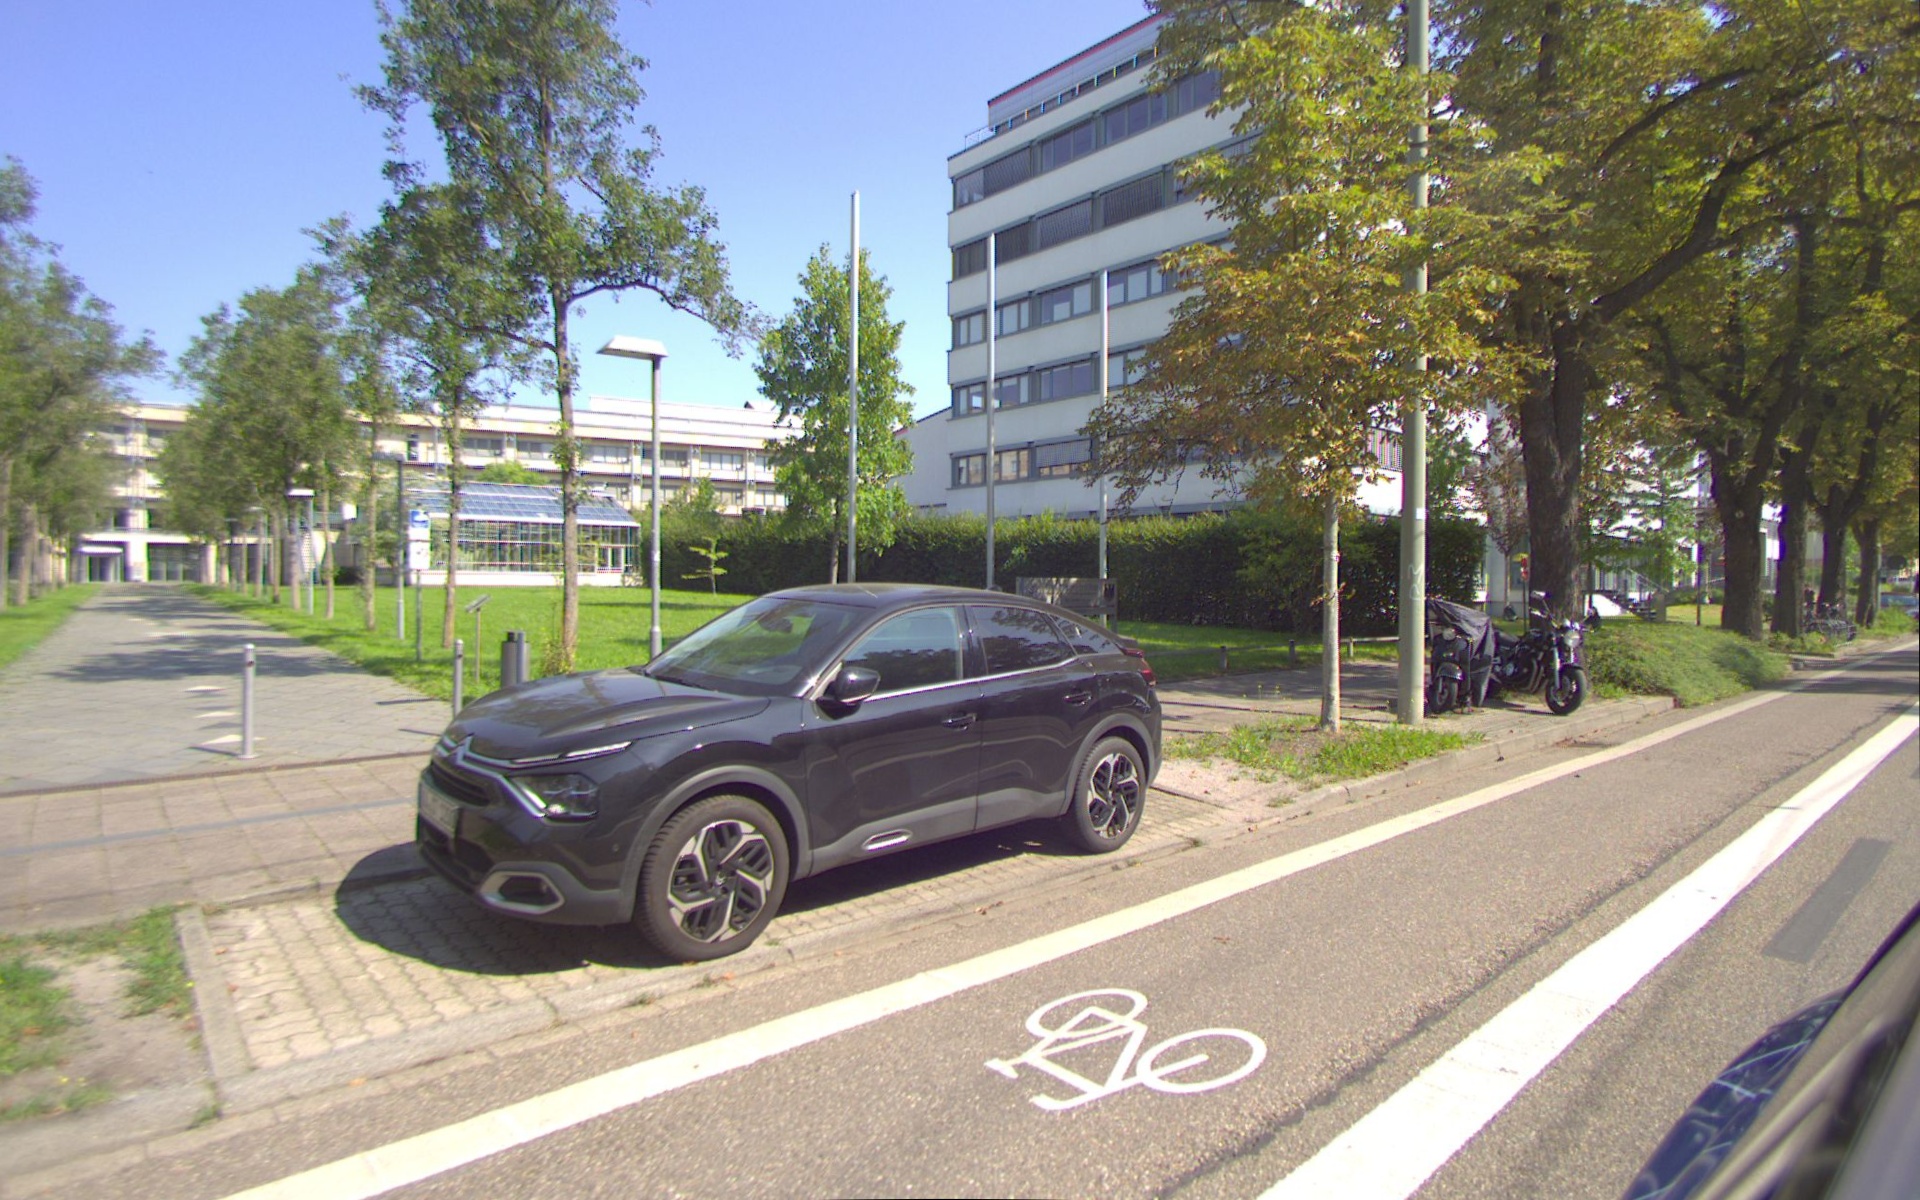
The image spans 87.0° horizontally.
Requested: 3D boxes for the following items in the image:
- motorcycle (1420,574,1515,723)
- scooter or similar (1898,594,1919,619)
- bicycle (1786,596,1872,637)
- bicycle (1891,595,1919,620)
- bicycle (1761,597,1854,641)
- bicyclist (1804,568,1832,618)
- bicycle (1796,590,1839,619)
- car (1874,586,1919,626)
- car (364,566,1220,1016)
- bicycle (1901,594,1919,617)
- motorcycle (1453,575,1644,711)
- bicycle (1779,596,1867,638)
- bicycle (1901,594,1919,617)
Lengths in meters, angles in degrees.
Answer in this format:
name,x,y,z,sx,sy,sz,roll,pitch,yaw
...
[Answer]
name,x,y,z,sx,sy,sz,roll,pitch,yaw
motorcycle,5.830,0.483,11.739,0.843,1.535,2.435,0,0,24
scooter or similar,43.902,0.302,46.021,0.531,1.085,1.774,0,1,-42
bicycle,24.346,0.450,28.379,0.531,1.063,1.774,0,1,-42
bicycle,41.616,0.333,43.901,0.531,1.085,1.774,0,1,-42
bicycle,22.024,0.481,26.322,0.531,1.063,1.774,0,1,-42
bicyclist,35.029,-0.286,41.323,1.254,2.039,0.781,0,0,-45
bicycle,35.092,0.181,41.394,1.136,1.139,2.496,0,1,45
car,37.368,0.204,39.714,4.201,1.480,1.758,0,1,-42
car,-0.563,0.607,5.663,4.532,1.534,1.758,-1,2,-43
bicycle,45.474,0.280,47.558,0.531,1.085,1.774,0,1,-42
motorcycle,7.247,0.468,12.654,0.836,1.535,2.457,0,0,-3
bicycle,23.822,0.457,27.967,0.531,1.063,1.774,0,1,-42
bicycle,45.450,0.280,47.552,0.531,1.085,1.774,0,1,-42
